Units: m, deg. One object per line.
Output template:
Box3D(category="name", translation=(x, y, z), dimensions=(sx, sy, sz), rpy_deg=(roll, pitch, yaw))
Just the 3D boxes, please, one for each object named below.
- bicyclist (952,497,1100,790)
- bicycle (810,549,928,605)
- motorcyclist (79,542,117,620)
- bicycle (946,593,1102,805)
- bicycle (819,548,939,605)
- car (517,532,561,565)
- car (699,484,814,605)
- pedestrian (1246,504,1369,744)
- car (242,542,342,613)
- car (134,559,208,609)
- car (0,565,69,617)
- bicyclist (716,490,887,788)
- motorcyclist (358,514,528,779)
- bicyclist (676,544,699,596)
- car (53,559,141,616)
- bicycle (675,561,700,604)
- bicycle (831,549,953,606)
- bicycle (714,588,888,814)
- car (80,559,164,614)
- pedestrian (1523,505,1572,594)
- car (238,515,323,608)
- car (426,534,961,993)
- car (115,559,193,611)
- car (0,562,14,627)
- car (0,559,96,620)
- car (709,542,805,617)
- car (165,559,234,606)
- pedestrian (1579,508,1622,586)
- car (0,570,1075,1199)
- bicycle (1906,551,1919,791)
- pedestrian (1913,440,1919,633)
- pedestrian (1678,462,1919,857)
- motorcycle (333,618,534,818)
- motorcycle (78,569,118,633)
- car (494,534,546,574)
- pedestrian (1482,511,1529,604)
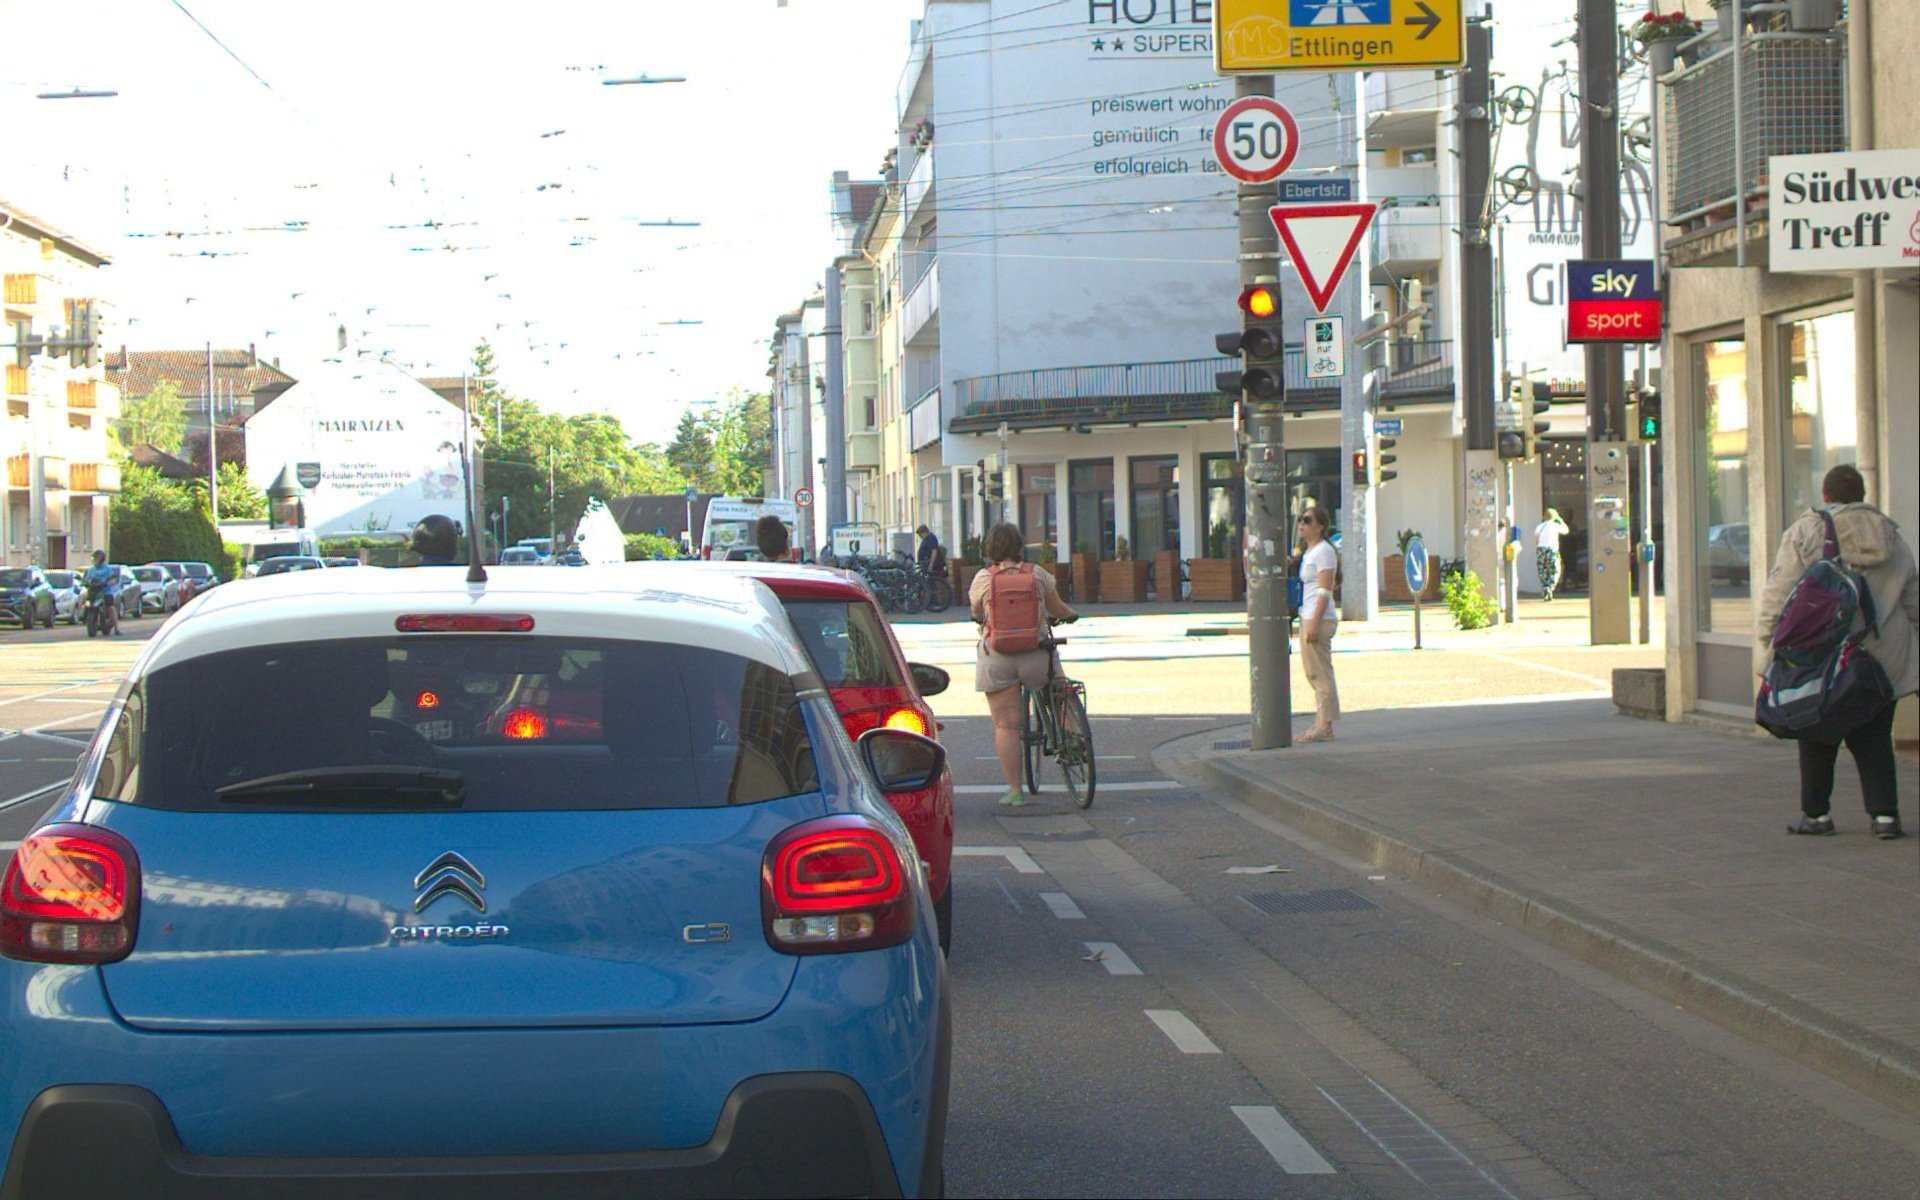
Box3D(category="bicyclist", translation=(0.402, 0.247, 20.380), dimensions=(0.811, 1.686, 0.935), rpy_deg=(1, 0, 4))
Box3D(category="bicycle", translation=(-1.814, -0.464, 68.293), dimensions=(2.251, 0.998, 0.856), rpy_deg=(-3, 1, -5))
Box3D(category="motorcyclist", translation=(-16.821, -0.368, 67.095), dimensions=(0.693, 1.491, 0.684), rpy_deg=(-1, -1, -14))
Box3D(category="bicycle", translation=(0.407, 0.557, 20.529), dimensions=(0.811, 1.177, 2.064), rpy_deg=(1, 1, 4))
Box3D(category="bicycle", translation=(-1.594, -0.458, 67.183), dimensions=(2.251, 0.998, 0.856), rpy_deg=(-3, 1, -5))
Box3D(category="car", translation=(-23.000, -2.821, 187.842), dimensions=(2.074, 1.756, 5.037), rpy_deg=(1, 1, -4))
Box3D(category="car", translation=(-4.345, -1.169, 72.827), dimensions=(2.265, 2.473, 5.009), rpy_deg=(0, 1, -5))
Box3D(category="pedestrian", translation=(2.445, 0.164, 24.156), dimensions=(0.540, 1.618, 0.732), rpy_deg=(-5, -1, 21))
Box3D(category="car", translation=(-14.815, -0.508, 76.422), dimensions=(1.778, 1.481, 3.829), rpy_deg=(-2, 1, -5))
Box3D(category="car", translation=(-25.858, -0.534, 112.796), dimensions=(1.869, 1.571, 4.001), rpy_deg=(1, 1, -6))
Box3D(category="car", translation=(-23.689, -0.241, 86.075), dimensions=(1.946, 1.235, 4.283), rpy_deg=(1, 1, -5))
Box3D(category="bicyclist", translation=(-0.909, 0.216, 19.907), dimensions=(0.940, 1.667, 1.079), rpy_deg=(1, 0, -2))
Box3D(category="motorcyclist", translation=(-2.965, 0.258, 19.769), dimensions=(0.855, 1.483, 0.729), rpy_deg=(1, 0, -1))
Box3D(category="bicyclist", translation=(-10.715, -1.170, 135.320), dimensions=(0.791, 2.018, 0.986), rpy_deg=(1, 0, 1))
Box3D(category="car", translation=(-24.606, -0.368, 98.142), dimensions=(1.869, 1.571, 4.001), rpy_deg=(1, 1, -6))
Box3D(category="bicycle", translation=(-10.721, -0.706, 135.325), dimensions=(0.791, 1.664, 2.230), rpy_deg=(1, 1, 1))
Box3D(category="bicycle", translation=(-1.303, -0.431, 65.816), dimensions=(2.251, 0.998, 0.856), rpy_deg=(-3, 1, -5))
Box3D(category="bicycle", translation=(-0.904, 0.552, 19.944), dimensions=(0.940, 1.219, 2.095), rpy_deg=(1, 1, -2))
Box3D(category="car", translation=(-24.984, -0.419, 102.625), dimensions=(1.869, 1.571, 4.001), rpy_deg=(1, 1, -6))
Box3D(category="pedestrian", translation=(10.586, -0.909, 61.915), dimensions=(0.611, 1.603, 0.667), rpy_deg=(1, 1, 37))
Box3D(category="car", translation=(-23.526, -1.327, 119.120), dimensions=(2.417, 3.131, 3.489), rpy_deg=(1, 0, -3))
Box3D(category="car", translation=(-1.067, 0.523, 13.495), dimensions=(1.784, 1.516, 3.763), rpy_deg=(1, 1, -5))
Box3D(category="car", translation=(-25.310, -0.479, 108.047), dimensions=(1.869, 1.571, 4.001), rpy_deg=(1, 1, -6))
Box3D(category="car", translation=(-23.180, -0.125, 79.360), dimensions=(1.741, 1.521, 4.230), rpy_deg=(1, 1, -4))
Box3D(category="car", translation=(-24.393, -0.304, 92.082), dimensions=(1.869, 1.571, 4.001), rpy_deg=(1, 1, -6))
Box3D(category="car", translation=(-4.024, -0.417, 67.846), dimensions=(1.657, 1.426, 3.889), rpy_deg=(1, 1, -7))
Box3D(category="car", translation=(-26.303, -0.603, 118.982), dimensions=(1.869, 1.571, 4.001), rpy_deg=(1, 1, -6))
Box3D(category="pedestrian", translation=(11.930, -0.980, 64.046), dimensions=(0.607, 1.439, 0.554), rpy_deg=(1, 0, 33))
Box3D(category="car", translation=(-0.737, 0.673, 7.166), dimensions=(1.737, 1.447, 3.662), rpy_deg=(0, 1, 5))
Box3D(category="bicycle", translation=(4.898, 0.343, 15.801), dimensions=(0.496, 1.157, 1.777), rpy_deg=(-1, 0, -3))
Box3D(category="pedestrian", translation=(5.831, -0.367, 19.288), dimensions=(0.623, 1.084, 0.679), rpy_deg=(-3, 2, -37))
Box3D(category="pedestrian", translation=(3.665, 0.233, 14.647), dimensions=(0.884, 1.586, 0.811), rpy_deg=(-4, 2, -8))
Box3D(category="motorcycle", translation=(-2.964, 0.643, 19.554), dimensions=(0.855, 1.043, 1.942), rpy_deg=(1, 1, -1))
Box3D(category="motorcycle", translation=(-16.790, 0.028, 66.990), dimensions=(0.711, 1.216, 1.966), rpy_deg=(-1, -1, -14))
Box3D(category="car", translation=(-21.734, -2.255, 169.871), dimensions=(2.218, 1.925, 4.950), rpy_deg=(1, 1, -4))
Box3D(category="pedestrian", translation=(9.529, -0.738, 60.012), dimensions=(0.610, 1.603, 0.668), rpy_deg=(1, 0, 27))
